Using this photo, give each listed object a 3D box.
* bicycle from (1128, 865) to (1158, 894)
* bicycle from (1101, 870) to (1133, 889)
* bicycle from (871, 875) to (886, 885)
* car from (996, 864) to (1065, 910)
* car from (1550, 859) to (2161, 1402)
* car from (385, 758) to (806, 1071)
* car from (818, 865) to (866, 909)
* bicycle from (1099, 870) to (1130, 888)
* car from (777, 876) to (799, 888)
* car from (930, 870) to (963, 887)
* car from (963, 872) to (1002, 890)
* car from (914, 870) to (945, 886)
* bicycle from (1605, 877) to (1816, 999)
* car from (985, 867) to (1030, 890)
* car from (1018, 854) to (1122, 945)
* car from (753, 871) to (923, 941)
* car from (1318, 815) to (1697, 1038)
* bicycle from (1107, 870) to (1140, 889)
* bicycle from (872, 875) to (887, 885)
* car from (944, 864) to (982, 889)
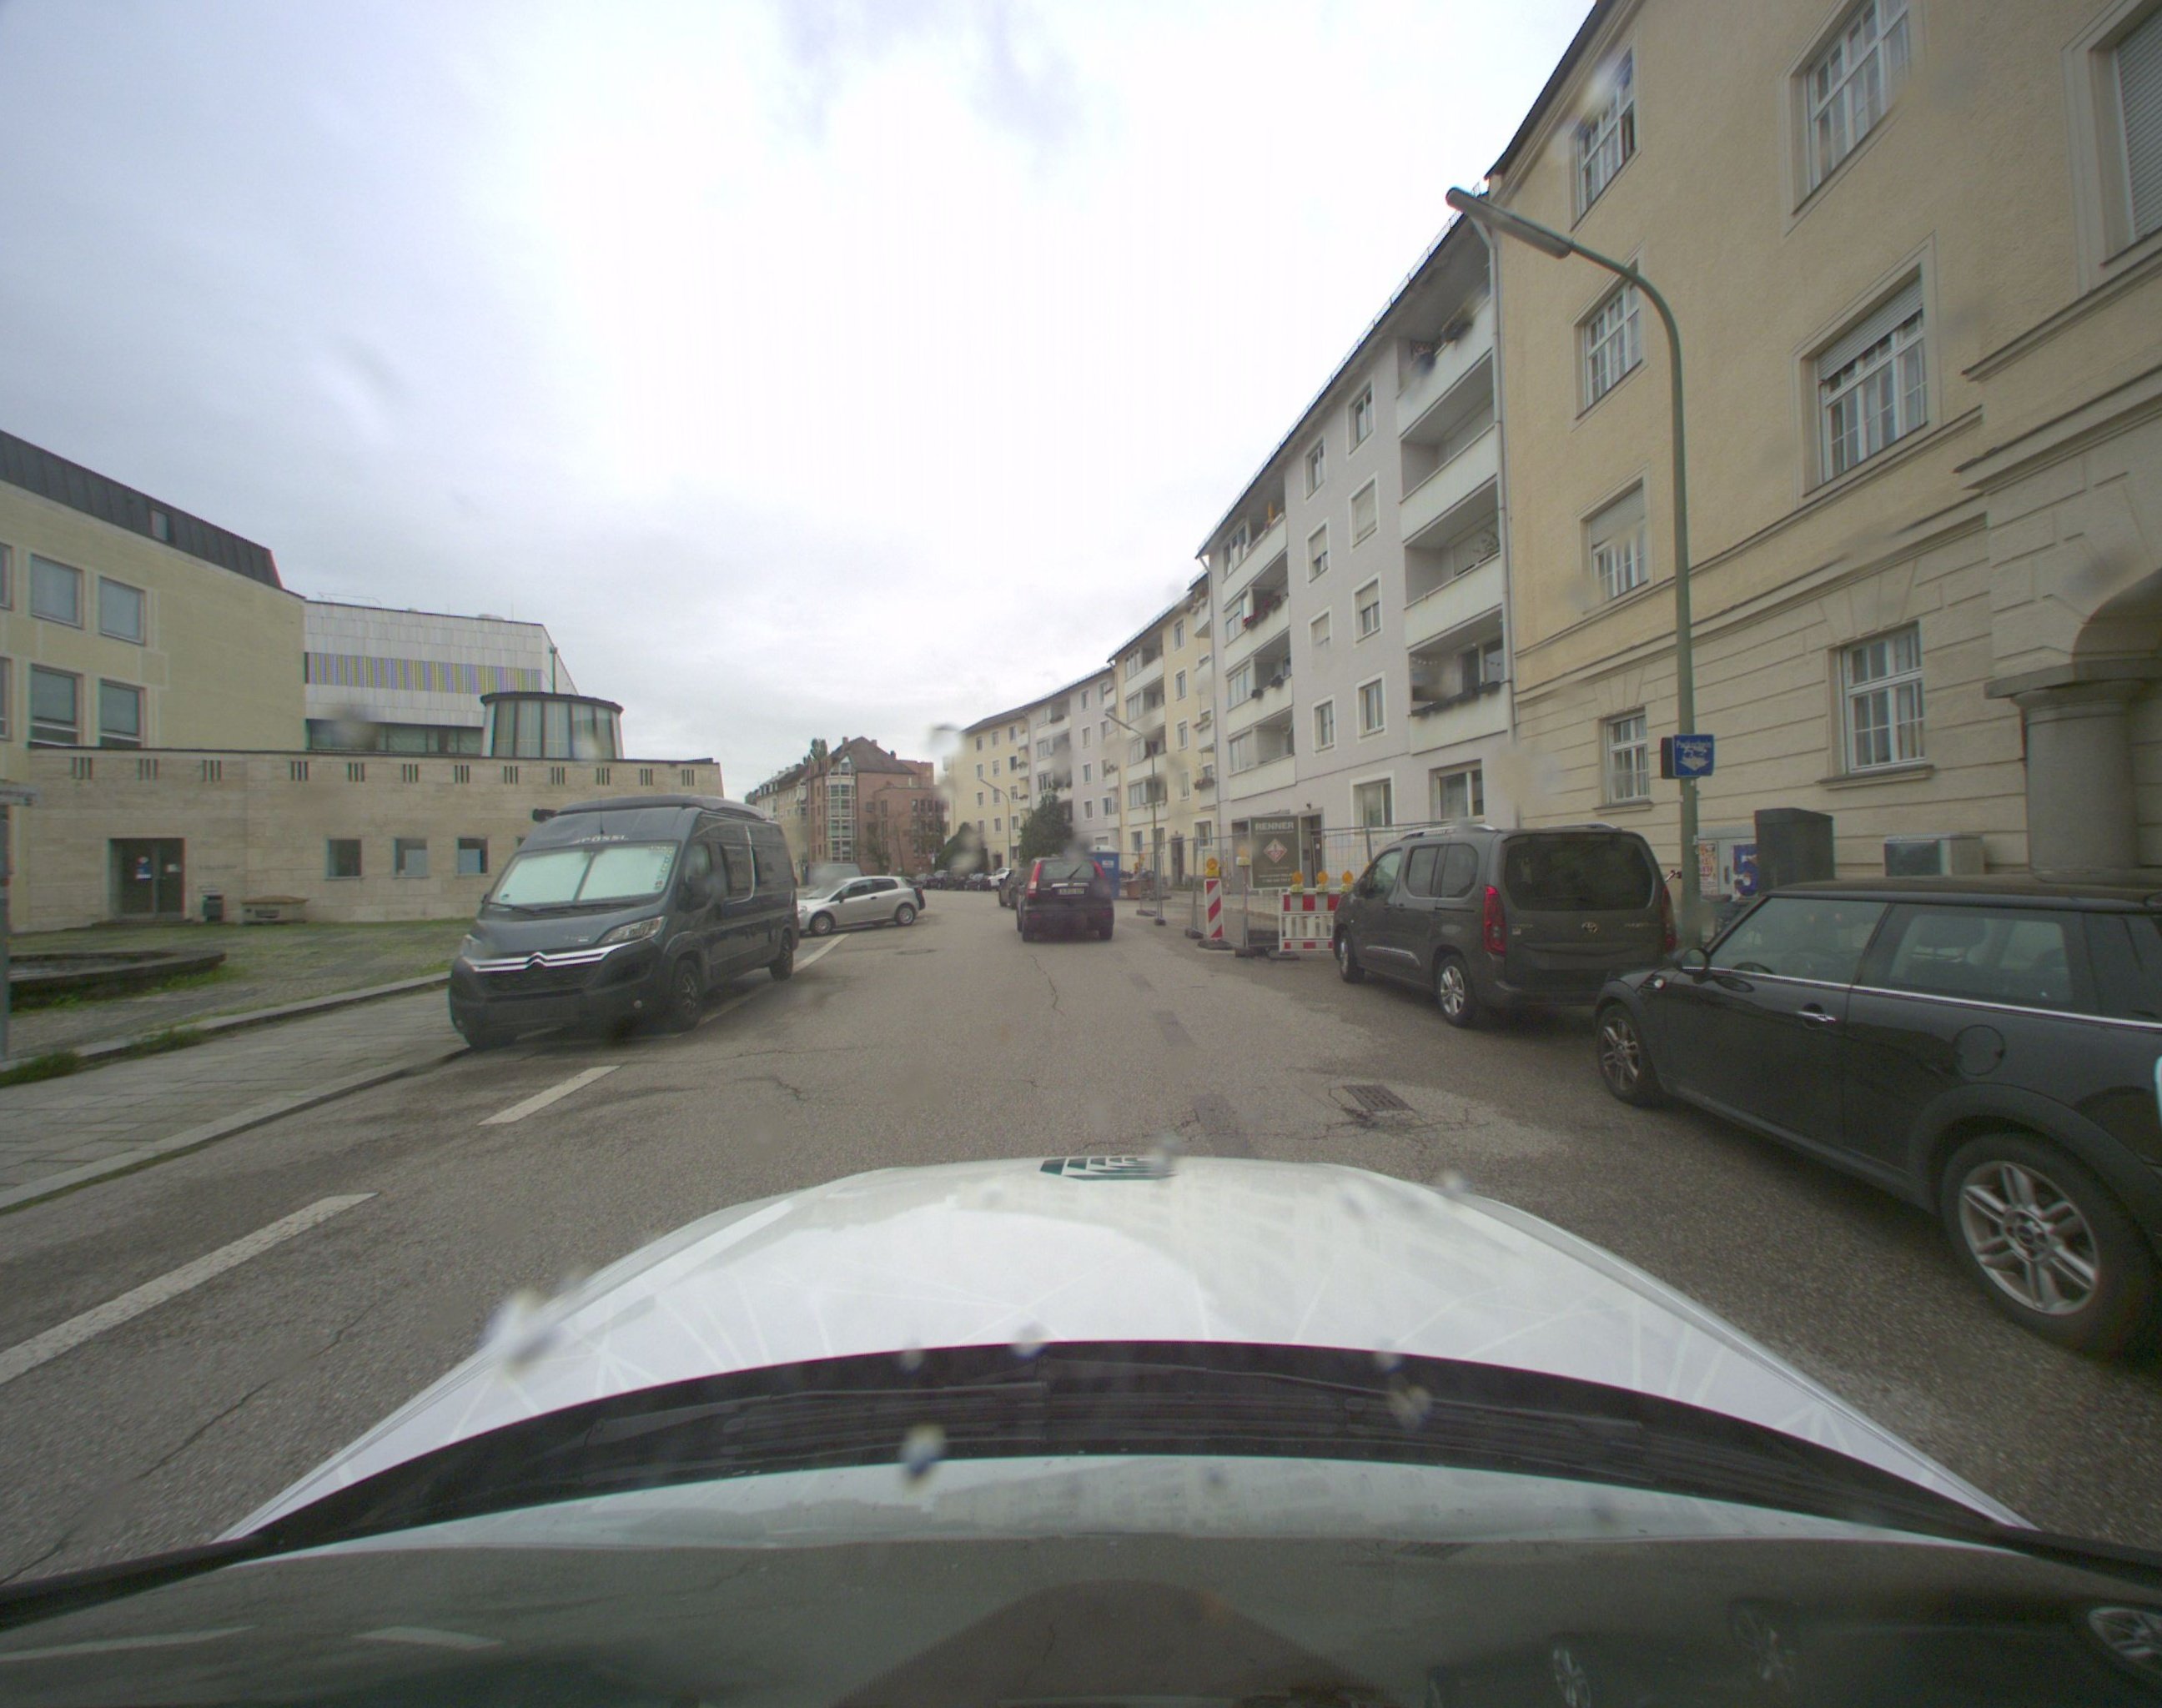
[{"bbox_3d":[3.091,1.252,40.928,0.968,1.388,2.556,-1,-1,-9],"label":"bicycle"},{"bbox_3d":[2.234,1.580,50.393,1.869,1.091,0.642,-1,-1,-15],"label":"bicycle"},{"bbox_3d":[-25.596,3.290,103.074,1.762,1.288,0.548,-1,-1,-24],"label":"bicycle"},{"bbox_3d":[-1.888,1.144,29.379,1.682,1.481,4.064,-1,-1,-15],"label":"car"},{"bbox_3d":[3.979,0.752,3.895,1.698,1.447,3.838,0,-1,8],"label":"car"},{"bbox_3d":[-5.271,0.538,10.185,2.162,2.642,6.002,-3,0,-7],"label":"car"},{"bbox_3d":[-10.134,1.354,34.332,1.685,1.707,4.482,-1,-1,-20],"label":"car"},{"bbox_3d":[2.153,1.609,52.443,1.869,1.091,0.642,-1,-1,-15],"label":"bicycle"},{"bbox_3d":[-40.545,3.856,112.645,1.821,1.472,4.072,0,-1,-36],"label":"car"},{"bbox_3d":[-11.273,2.034,68.012,1.707,1.389,3.570,0,-1,-27],"label":"car"},{"bbox_3d":[-7.289,1.991,59.957,1.707,1.236,3.570,0,-1,-27],"label":"car"},{"bbox_3d":[-13.386,2.101,71.871,1.707,1.389,3.570,0,-1,-27],"label":"car"},{"bbox_3d":[6.131,0.764,8.101,0.577,1.014,1.953,-1,-1,0],"label":"bicycle"},{"bbox_3d":[-5.091,1.672,55.712,1.734,1.483,3.965,0,-1,-27],"label":"car"},{"bbox_3d":[-0.357,0.874,17.270,1.888,1.647,3.984,-1,-1,-5],"label":"car"},{"bbox_3d":[-6.654,1.412,22.559,4.110,1.481,1.663,-4,-2,-44],"label":"car"},{"bbox_3d":[4.113,0.606,8.789,1.773,1.807,4.273,0,-1,-1],"label":"car"},{"bbox_3d":[2.519,1.517,48.749,1.869,1.091,0.562,-1,-1,-15],"label":"bicycle"},{"bbox_3d":[-25.337,3.249,102.464,1.762,1.288,0.548,-1,-1,-24],"label":"bicycle"},{"bbox_3d":[-9.315,1.710,64.020,1.734,1.878,3.965,0,-1,-27],"label":"car"}]
